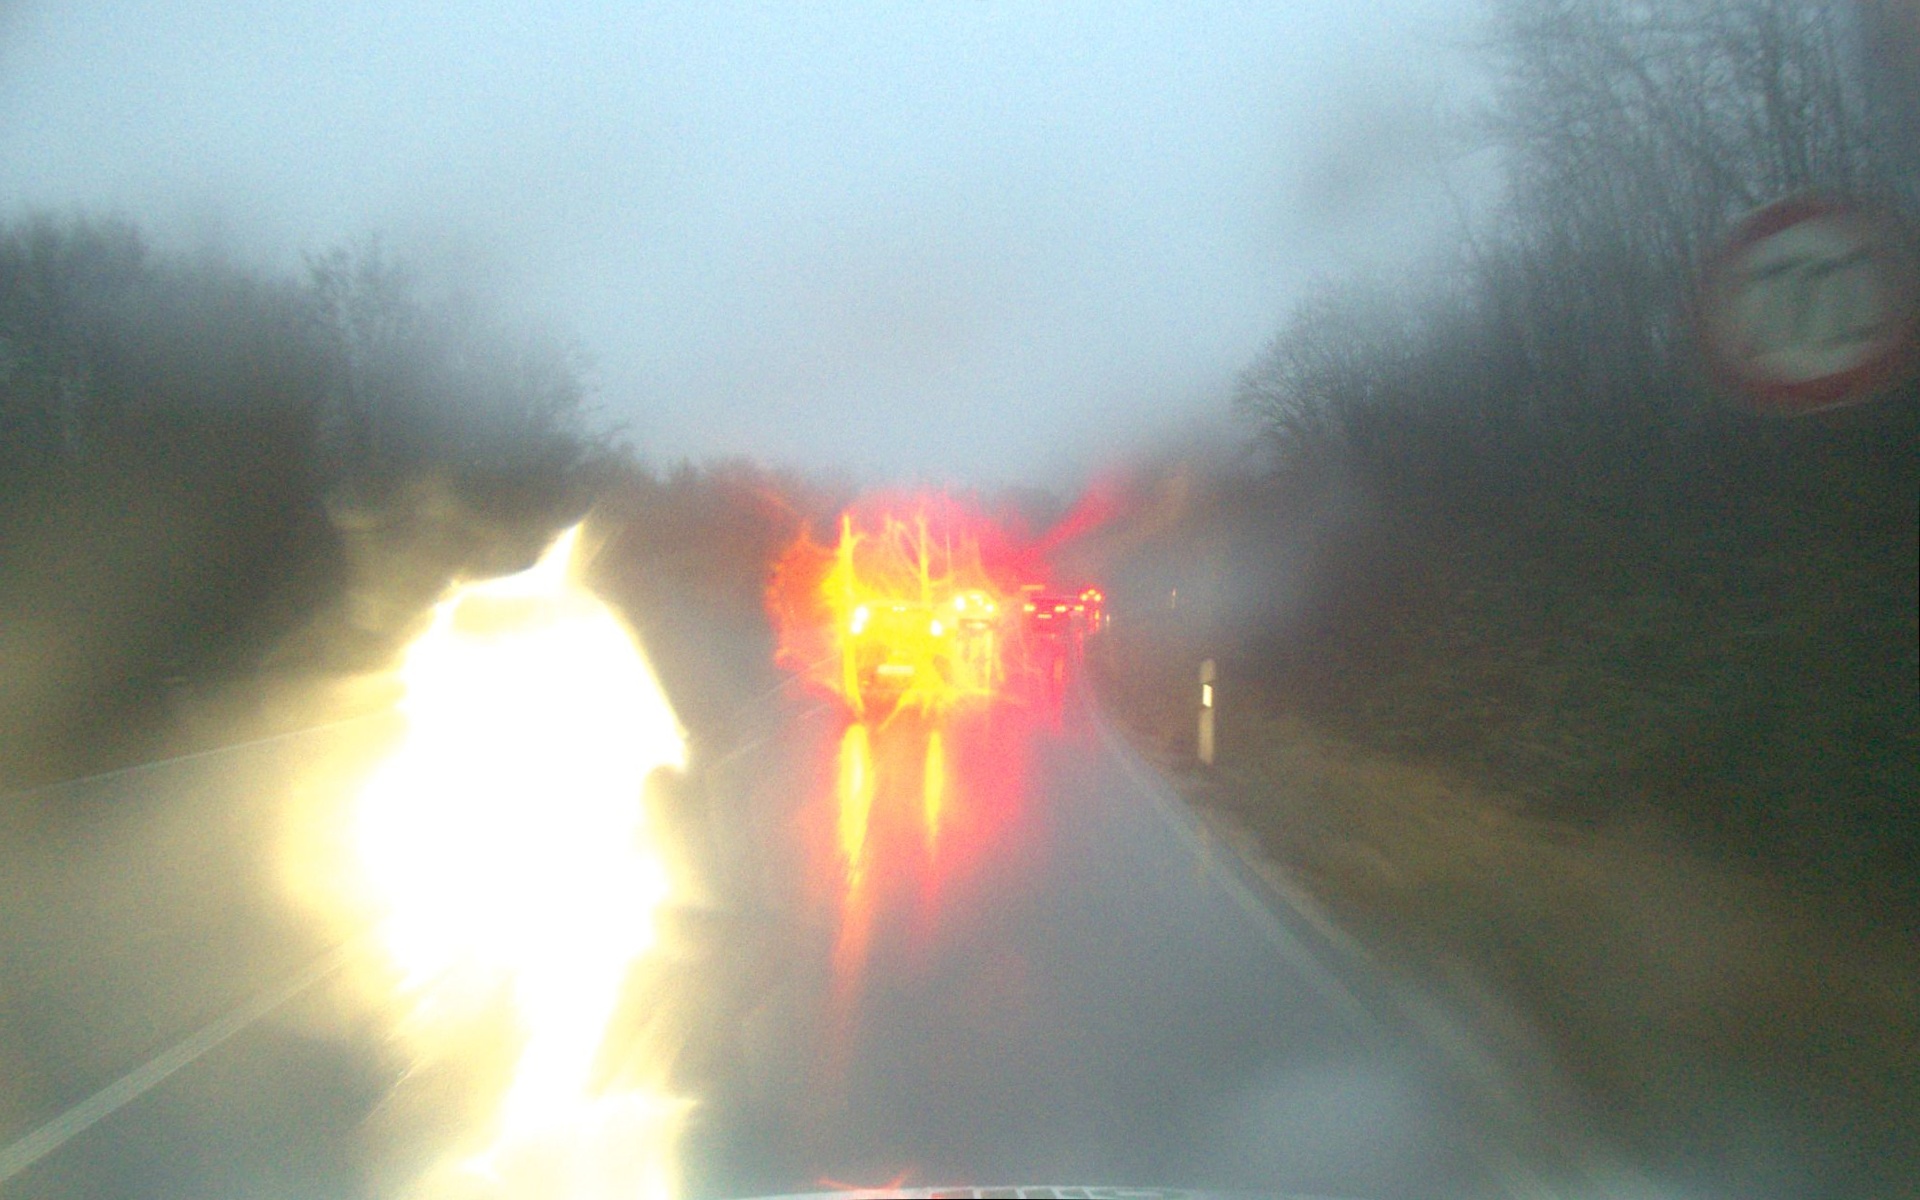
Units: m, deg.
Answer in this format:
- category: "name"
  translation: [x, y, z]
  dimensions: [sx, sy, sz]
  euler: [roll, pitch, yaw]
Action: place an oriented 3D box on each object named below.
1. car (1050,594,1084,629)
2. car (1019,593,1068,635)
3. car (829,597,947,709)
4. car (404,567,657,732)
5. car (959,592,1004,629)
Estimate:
- category: "car"
  translation: [5.606, 0.575, 87.200]
  dimensions: [1.644, 1.704, 4.099]
  euler: [1, 1, 2]
- category: "car"
  translation: [3.028, 0.491, 60.517]
  dimensions: [1.644, 1.414, 4.099]
  euler: [1, 1, 1]
- category: "car"
  translation: [-1.087, 0.744, 25.400]
  dimensions: [1.599, 1.445, 4.170]
  euler: [3, 1, -2]
- category: "car"
  translation: [-4.474, 0.453, 17.853]
  dimensions: [1.729, 1.523, 4.101]
  euler: [2, 1, -2]
- category: "car"
  translation: [0.981, 0.467, 77.278]
  dimensions: [1.964, 1.583, 4.517]
  euler: [3, 1, 0]
